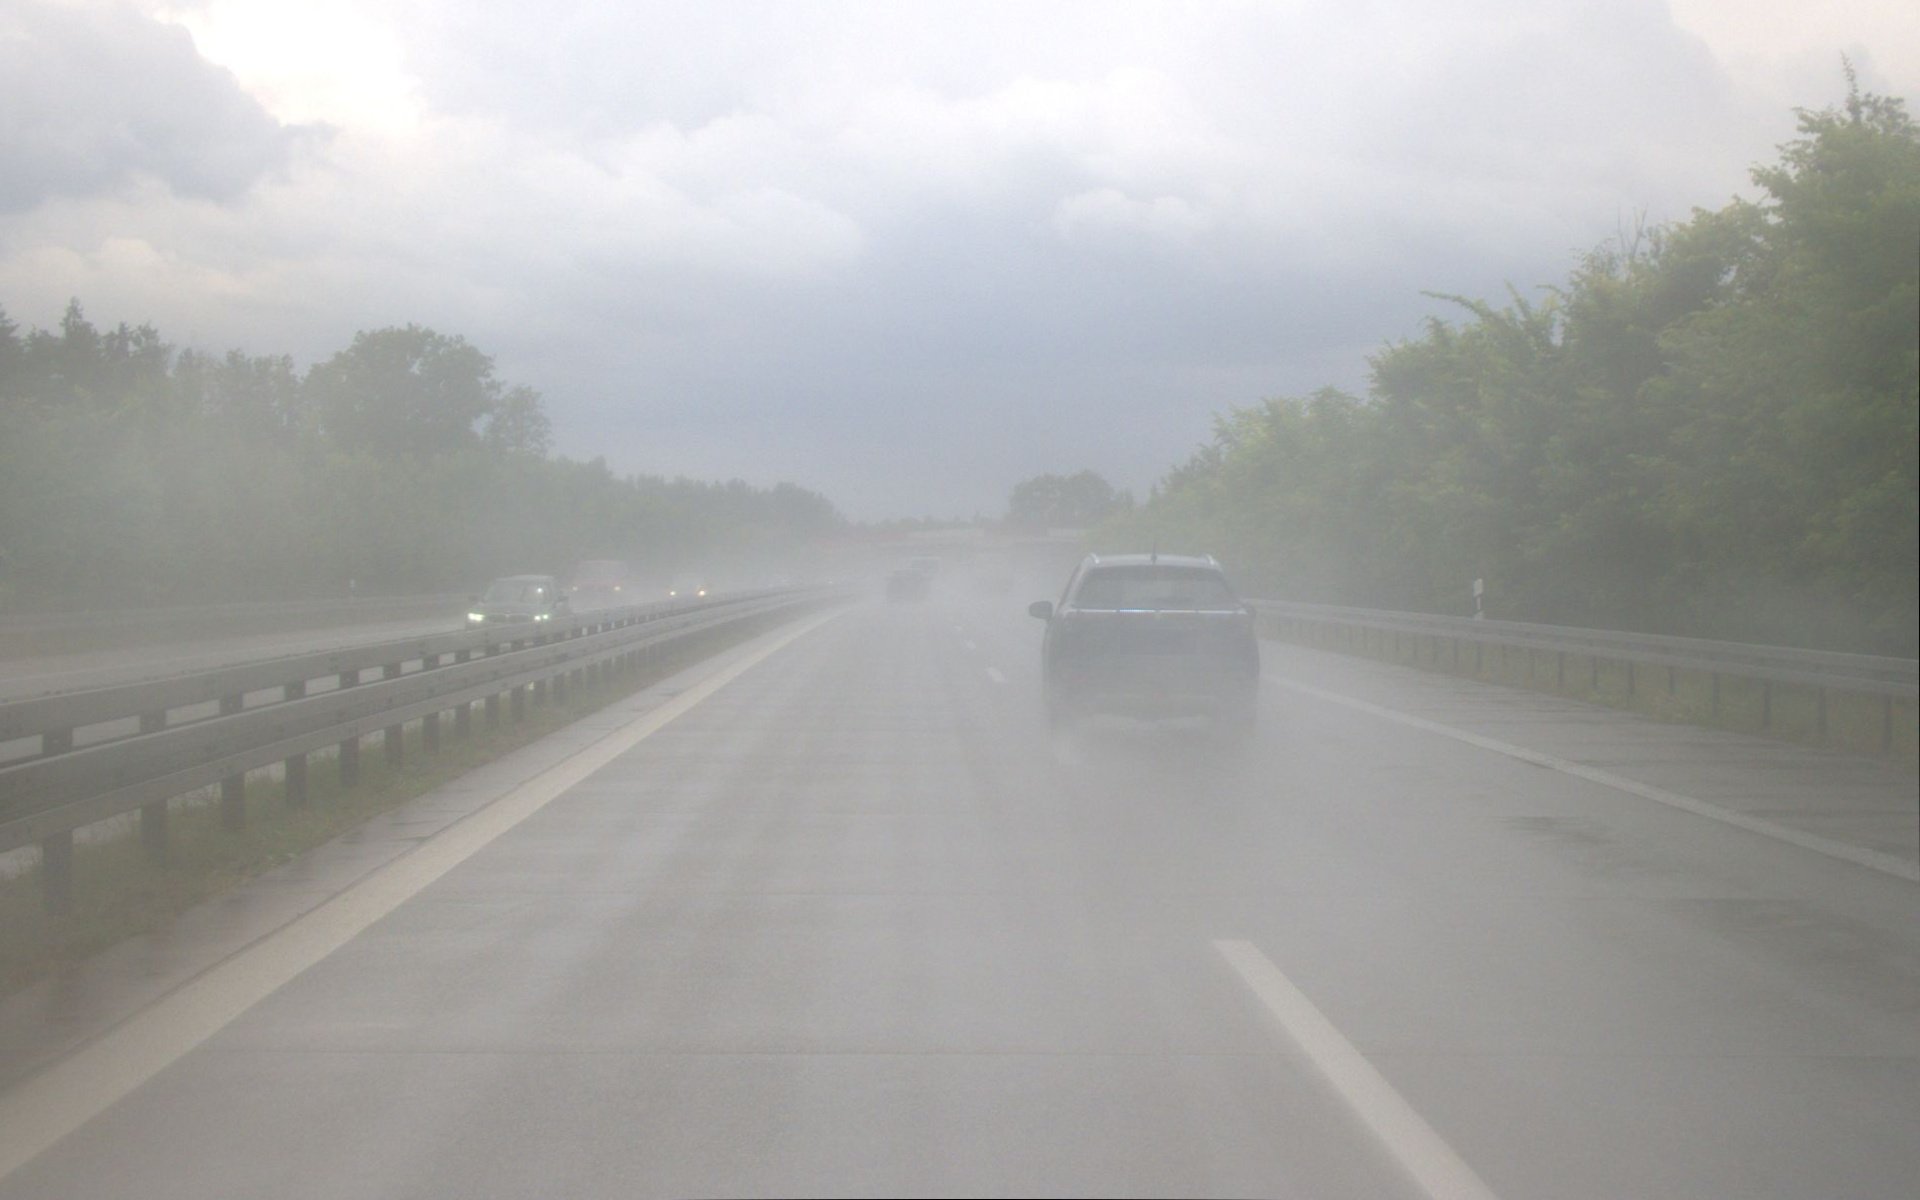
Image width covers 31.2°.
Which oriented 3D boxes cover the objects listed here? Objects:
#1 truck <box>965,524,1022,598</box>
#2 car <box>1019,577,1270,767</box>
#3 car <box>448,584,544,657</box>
[{"bbox_3d":[2.079,-2.345,211.378,3.244,4.422,8.245,0,0,2],"label":"truck"},{"bbox_3d":[1.565,0.614,30.445,1.894,1.571,3.632,0,0,-2],"label":"car"},{"bbox_3d":[-9.483,0.403,70.513,1.519,1.398,3.931,-1,1,-2],"label":"car"}]
